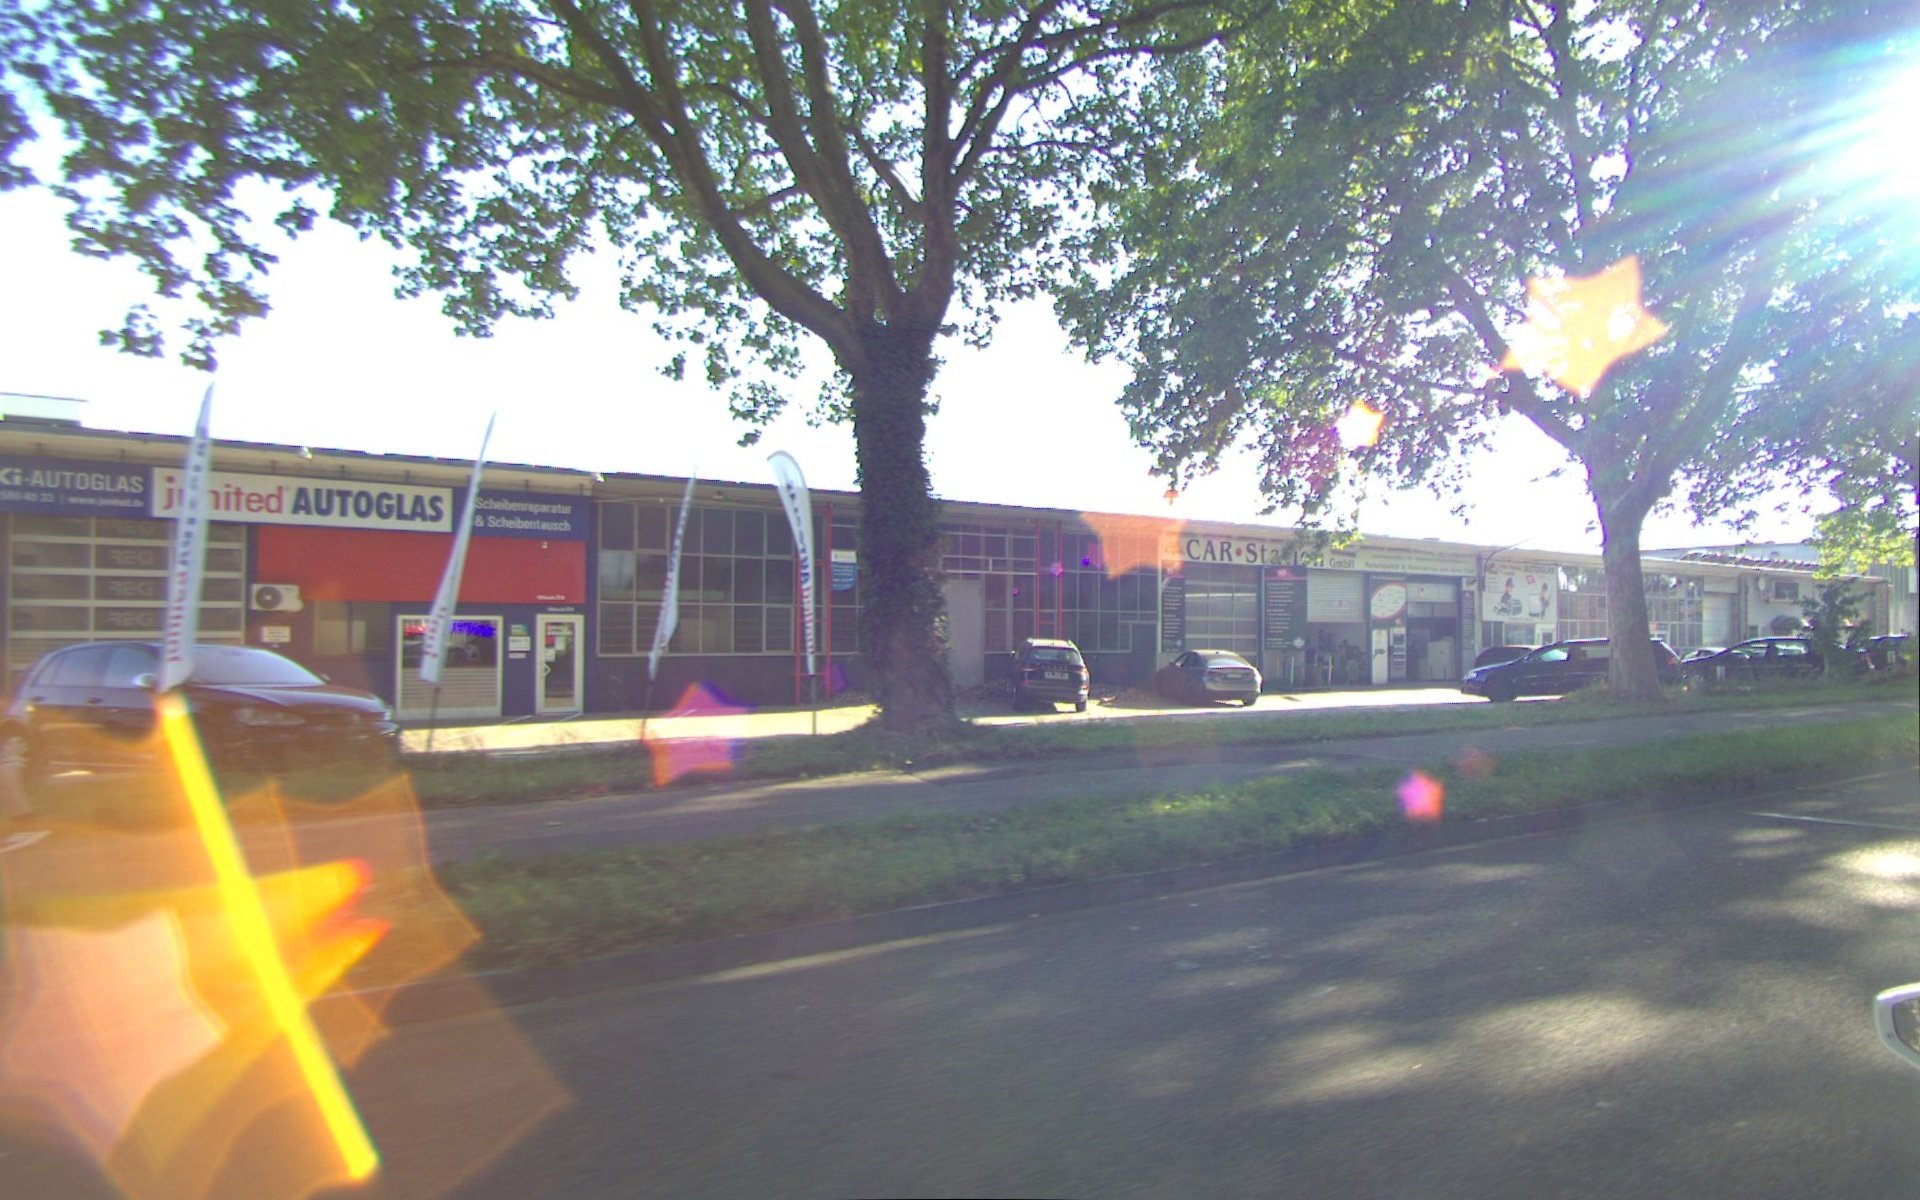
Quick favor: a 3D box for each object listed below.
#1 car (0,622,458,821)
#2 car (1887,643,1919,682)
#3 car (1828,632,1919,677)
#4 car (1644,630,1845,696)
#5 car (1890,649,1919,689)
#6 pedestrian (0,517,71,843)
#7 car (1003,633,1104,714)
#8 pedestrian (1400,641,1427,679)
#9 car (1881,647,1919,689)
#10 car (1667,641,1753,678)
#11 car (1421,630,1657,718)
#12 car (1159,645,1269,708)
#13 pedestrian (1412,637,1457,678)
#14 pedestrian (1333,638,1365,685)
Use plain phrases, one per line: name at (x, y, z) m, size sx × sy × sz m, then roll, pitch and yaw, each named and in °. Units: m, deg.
car at (-7.429, 1.086, 10.166) m, size 3.765 × 1.595 × 2.001 m, roll 2°, pitch 0°, yaw 14°
car at (39.276, 2.514, 39.113) m, size 4.180 × 1.471 × 1.999 m, roll 2°, pitch 0°, yaw 22°
car at (33.979, 1.954, 35.785) m, size 4.180 × 1.471 × 1.999 m, roll 2°, pitch 0°, yaw 22°
car at (21.770, 1.686, 28.090) m, size 4.280 × 1.550 × 1.993 m, roll 1°, pitch -1°, yaw 37°
car at (37.369, 2.613, 36.950) m, size 4.180 × 1.400 × 1.999 m, roll 2°, pitch 0°, yaw 22°
pedestrian at (-5.807, 0.426, 5.702) m, size 0.929 × 1.796 × 0.800 m, roll 2°, pitch 0°, yaw -28°
car at (2.257, 1.780, 25.356) m, size 1.961 × 1.728 × 3.999 m, roll 2°, pitch -1°, yaw -2°
pedestrian at (18.221, 2.419, 40.381) m, size 0.675 × 1.491 × 0.691 m, roll 2°, pitch 0°, yaw -22°
car at (37.123, 2.584, 37.052) m, size 4.180 × 1.471 × 1.999 m, roll 2°, pitch 0°, yaw 22°
car at (33.118, 2.599, 44.446) m, size 1.522 × 1.403 × 3.300 m, roll 2°, pitch -1°, yaw 5°
car at (14.197, 1.732, 24.766) m, size 4.821 × 1.783 × 1.993 m, roll 1°, pitch -1°, yaw 37°
car at (7.109, 2.101, 28.537) m, size 1.961 × 1.461 × 3.999 m, roll 2°, pitch -1°, yaw -2°
pedestrian at (19.304, 2.329, 40.882) m, size 1.108 × 1.581 × 1.158 m, roll 2°, pitch 0°, yaw -23°
pedestrian at (14.492, 2.296, 37.421) m, size 0.761 × 1.698 × 0.789 m, roll 2°, pitch 0°, yaw -30°
